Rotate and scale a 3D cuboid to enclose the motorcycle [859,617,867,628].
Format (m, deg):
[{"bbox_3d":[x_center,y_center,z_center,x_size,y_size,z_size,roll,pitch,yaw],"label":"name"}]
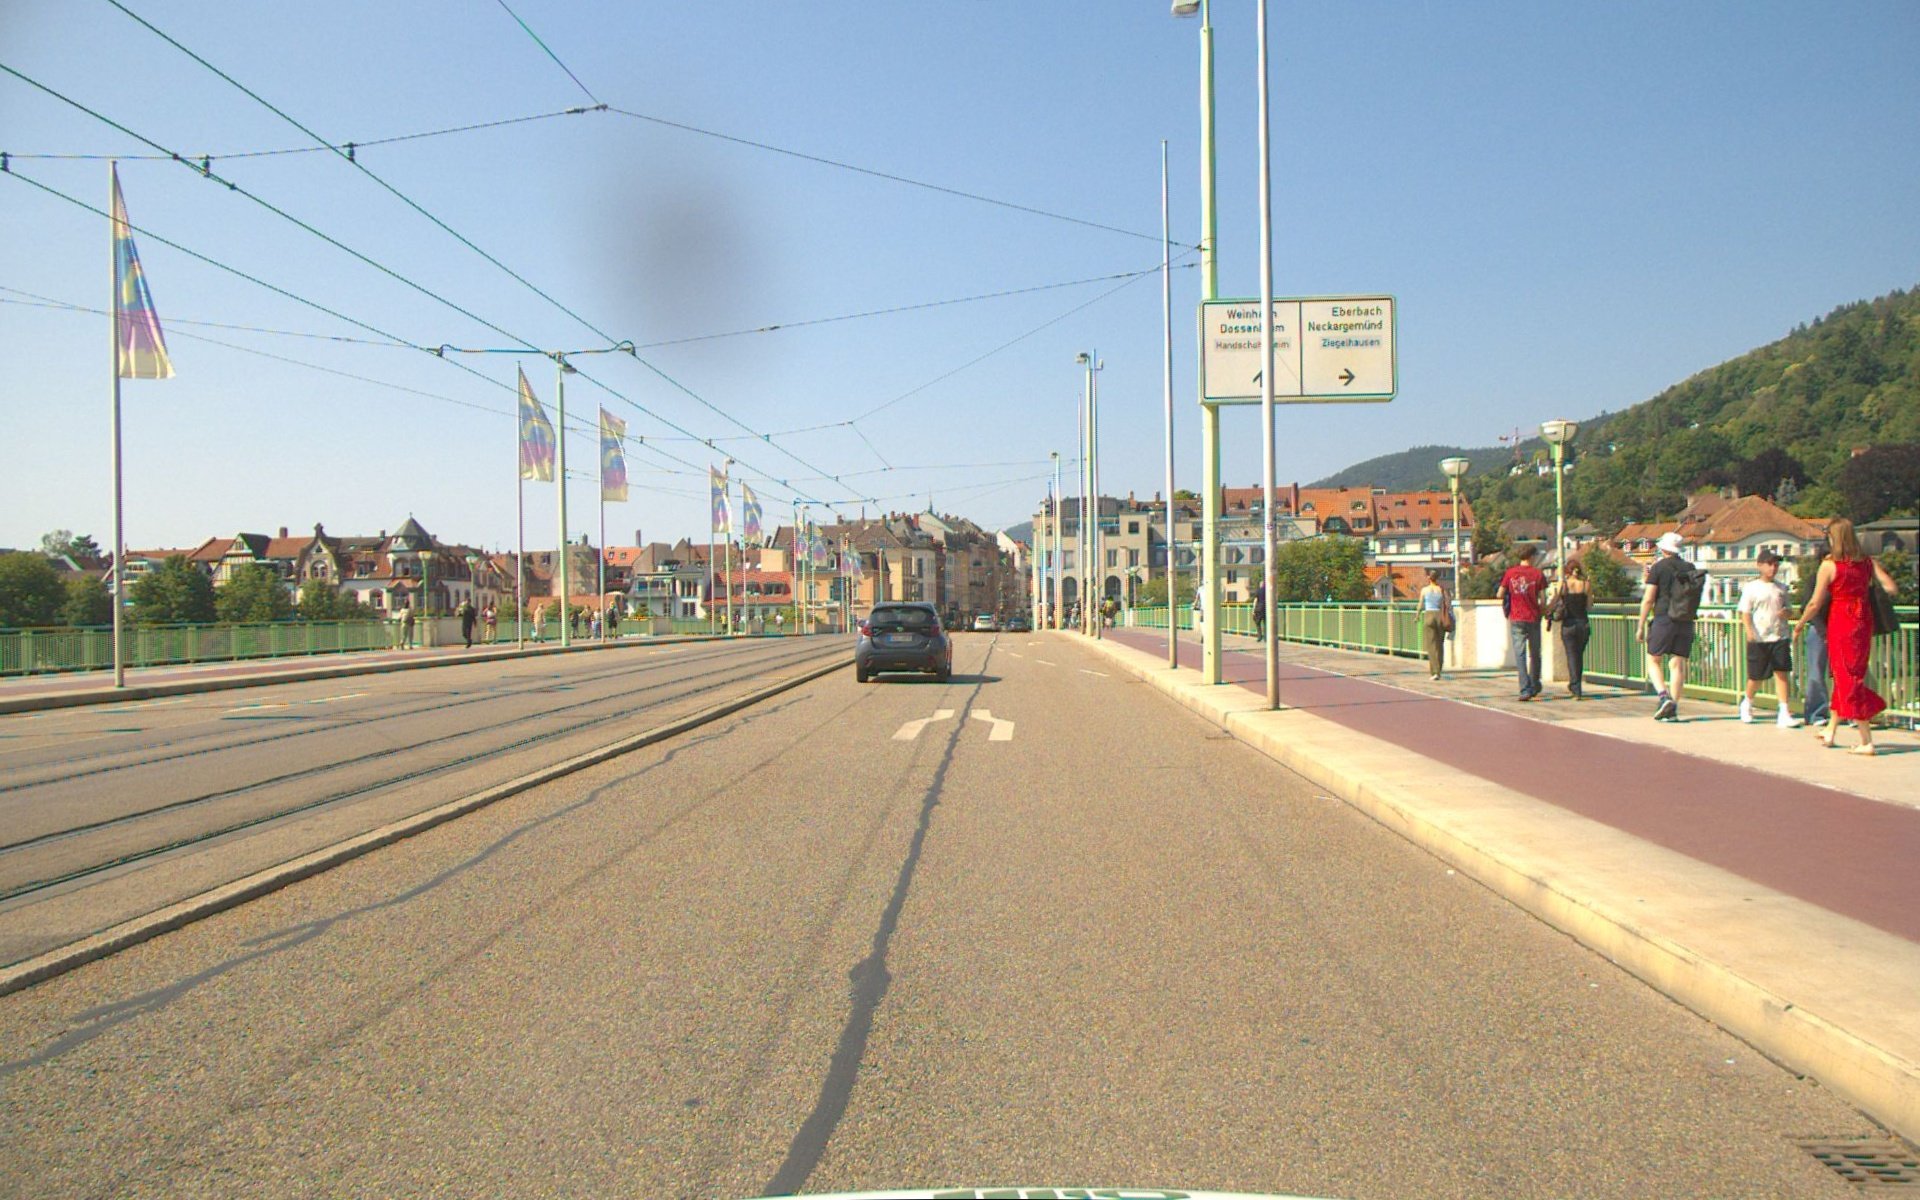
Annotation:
[{"bbox_3d":[-10.099,2.339,171.848,0.686,1.129,2.179,-1,0,1],"label":"motorcycle"}]

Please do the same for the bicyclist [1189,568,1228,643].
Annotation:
[{"bbox_3d":[6.027,0.126,40.156,0.660,1.774,1.150,-2,0,-3],"label":"bicyclist"}]

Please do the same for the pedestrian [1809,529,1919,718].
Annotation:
[{"bbox_3d":[8.139,0.204,14.907,0.636,1.660,0.692,0,0,2],"label":"pedestrian"}]

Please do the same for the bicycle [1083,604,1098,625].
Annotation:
[{"bbox_3d":[6.758,0.766,85.837,0.606,1.056,2.051,-1,0,0],"label":"bicycle"}]

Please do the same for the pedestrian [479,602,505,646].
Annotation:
[{"bbox_3d":[-18.795,0.969,66.439,0.739,1.752,1.175,-1,-1,-1],"label":"pedestrian"}]

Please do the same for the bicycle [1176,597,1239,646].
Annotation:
[{"bbox_3d":[6.024,0.493,40.424,0.776,1.115,3.742,-2,0,-3],"label":"bicycle"}]

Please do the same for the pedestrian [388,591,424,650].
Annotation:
[{"bbox_3d":[-19.580,0.721,58.479,0.880,2.049,1.042,-1,0,-1],"label":"pedestrian"}]

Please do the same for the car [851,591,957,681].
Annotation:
[{"bbox_3d":[-1.048,0.642,32.089,1.871,1.567,3.999,-2,0,-1],"label":"car"}]

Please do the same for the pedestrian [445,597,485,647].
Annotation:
[{"bbox_3d":[-18.065,0.786,60.405,1.075,1.789,1.295,-1,0,-1],"label":"pedestrian"}]

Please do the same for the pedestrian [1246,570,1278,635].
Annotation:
[{"bbox_3d":[8.470,0.065,46.364,0.642,1.774,0.978,-1,1,-4],"label":"pedestrian"}]

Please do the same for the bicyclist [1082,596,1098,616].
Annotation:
[{"bbox_3d":[6.748,0.315,85.807,0.720,1.048,1.175,-1,-1,0],"label":"bicyclist"}]

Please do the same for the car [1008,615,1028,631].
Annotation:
[{"bbox_3d":[5.692,2.274,162.539,1.766,1.494,4.002,-3,-1,4],"label":"car"}]

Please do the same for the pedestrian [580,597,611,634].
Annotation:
[{"bbox_3d":[-17.951,0.756,81.484,1.074,1.759,1.296,2,0,4],"label":"pedestrian"}]

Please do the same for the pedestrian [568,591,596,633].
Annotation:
[{"bbox_3d":[-18.708,0.596,81.891,1.075,2.049,1.129,-1,0,-1],"label":"pedestrian"}]

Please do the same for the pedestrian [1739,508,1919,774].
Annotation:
[{"bbox_3d":[6.863,0.311,12.988,0.994,1.988,0.939,-1,-1,-1],"label":"pedestrian"}]

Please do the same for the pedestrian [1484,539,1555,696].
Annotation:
[{"bbox_3d":[6.660,0.207,19.701,0.573,1.825,0.632,-1,-1,-4],"label":"pedestrian"}]

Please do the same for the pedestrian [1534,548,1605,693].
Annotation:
[{"bbox_3d":[7.228,0.243,19.630,0.512,1.678,0.699,-1,-1,-4],"label":"pedestrian"}]

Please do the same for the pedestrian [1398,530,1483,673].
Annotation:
[{"bbox_3d":[7.107,0.027,24.513,0.856,2.049,1.058,-1,-1,-4],"label":"pedestrian"}]

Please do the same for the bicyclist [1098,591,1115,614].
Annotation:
[{"bbox_3d":[6.930,0.114,78.058,0.653,1.063,0.979,0,0,-4],"label":"bicyclist"}]

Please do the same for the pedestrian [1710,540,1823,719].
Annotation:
[{"bbox_3d":[7.445,0.265,15.287,0.637,1.589,0.691,-2,1,-4],"label":"pedestrian"}]

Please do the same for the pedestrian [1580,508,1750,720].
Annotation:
[{"bbox_3d":[6.803,0.134,16.026,0.965,1.928,1.253,-3,0,-4],"label":"pedestrian"}]

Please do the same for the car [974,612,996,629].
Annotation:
[{"bbox_3d":[2.276,1.904,152.287,1.767,1.494,3.999,-3,-1,-1],"label":"car"}]

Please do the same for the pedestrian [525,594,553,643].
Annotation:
[{"bbox_3d":[-17.932,0.798,70.512,0.949,2.049,1.100,-1,0,-4],"label":"pedestrian"}]

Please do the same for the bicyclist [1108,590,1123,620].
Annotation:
[{"bbox_3d":[8.828,0.294,93.814,0.720,1.664,0.867,-1,-1,0],"label":"bicyclist"}]

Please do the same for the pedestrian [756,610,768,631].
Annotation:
[{"bbox_3d":[-16.998,1.760,141.999,0.813,1.752,1.094,1,0,2],"label":"pedestrian"}]

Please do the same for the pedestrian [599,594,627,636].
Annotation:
[{"bbox_3d":[-17.184,0.751,81.926,1.075,2.049,1.295,-1,0,-1],"label":"pedestrian"}]

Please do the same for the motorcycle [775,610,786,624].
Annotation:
[{"bbox_3d":[-14.810,1.422,136.534,0.686,1.129,2.179,-1,0,1],"label":"motorcycle"}]

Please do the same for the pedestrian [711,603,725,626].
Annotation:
[{"bbox_3d":[-18.215,1.081,124.538,0.880,1.687,1.029,-1,-1,4],"label":"pedestrian"}]

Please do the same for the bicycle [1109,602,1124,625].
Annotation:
[{"bbox_3d":[8.844,0.776,93.608,0.606,1.293,2.216,-1,0,0],"label":"bicycle"}]

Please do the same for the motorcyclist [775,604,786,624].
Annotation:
[{"bbox_3d":[-14.828,1.147,136.550,0.784,1.576,1.069,-1,-1,1],"label":"motorcyclist"}]

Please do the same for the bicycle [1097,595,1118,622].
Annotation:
[{"bbox_3d":[6.953,0.416,77.925,0.681,1.214,2.078,-2,-1,-3],"label":"bicycle"}]
